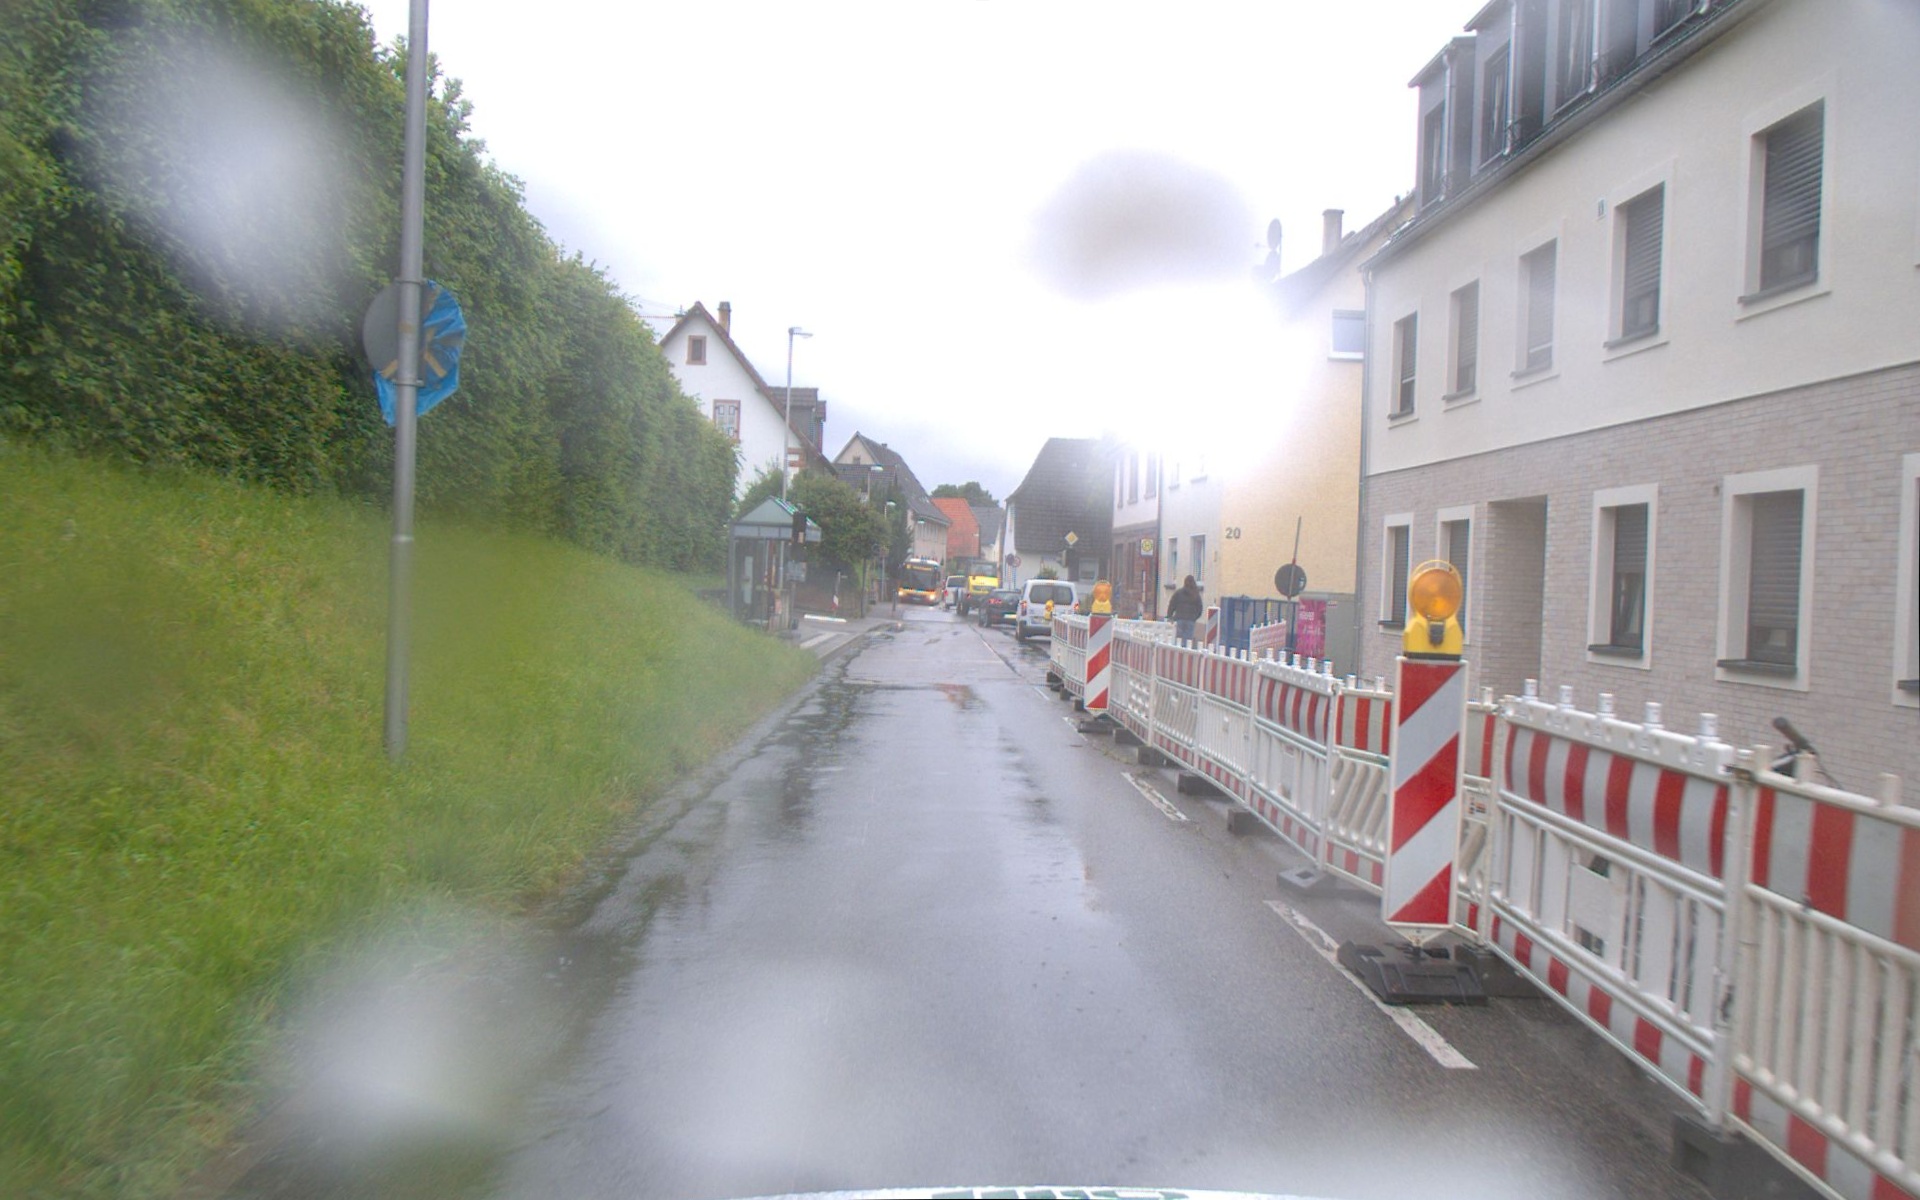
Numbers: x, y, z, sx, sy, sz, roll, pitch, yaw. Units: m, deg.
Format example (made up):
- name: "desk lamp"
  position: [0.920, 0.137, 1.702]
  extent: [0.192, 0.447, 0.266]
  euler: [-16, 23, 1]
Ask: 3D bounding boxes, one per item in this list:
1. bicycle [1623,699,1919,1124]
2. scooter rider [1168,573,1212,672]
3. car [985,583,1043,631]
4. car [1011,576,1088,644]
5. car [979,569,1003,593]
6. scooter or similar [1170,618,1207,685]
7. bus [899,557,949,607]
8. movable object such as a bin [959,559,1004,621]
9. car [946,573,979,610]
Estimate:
- name: "bicycle"
  position: [2.625, 0.948, 5.449]
  extent: [0.397, 1.163, 1.221]
  euler: [0, 0, 1]
- name: "scooter rider"
  position: [4.179, 0.412, 30.133]
  extent: [0.715, 1.763, 0.518]
  euler: [2, 0, 6]
- name: "car"
  position: [2.025, 0.234, 62.774]
  extent: [1.774, 1.624, 3.753]
  euler: [3, 1, -3]
- name: "car"
  position: [2.599, 0.256, 48.886]
  extent: [1.856, 1.825, 3.812]
  euler: [3, 1, -2]
- name: "car"
  position: [2.739, -1.611, 144.596]
  extent: [1.952, 2.049, 4.001]
  euler: [0, 0, 2]
- name: "scooter or similar"
  position: [4.148, 0.921, 30.011]
  extent: [0.607, 1.147, 1.403]
  euler: [2, 0, 8]
- name: "bus"
  position: [-2.443, -1.358, 115.491]
  extent: [2.595, 3.051, 12.199]
  euler: [3, 2, 2]
- name: "movable object such as a bin"
  position: [0.964, -0.496, 76.250]
  extent: [1.692, 2.699, 3.972]
  euler: [3, 1, -2]
- name: "car"
  position: [0.186, -0.530, 98.636]
  extent: [1.691, 2.042, 3.976]
  euler: [3, 1, 3]
